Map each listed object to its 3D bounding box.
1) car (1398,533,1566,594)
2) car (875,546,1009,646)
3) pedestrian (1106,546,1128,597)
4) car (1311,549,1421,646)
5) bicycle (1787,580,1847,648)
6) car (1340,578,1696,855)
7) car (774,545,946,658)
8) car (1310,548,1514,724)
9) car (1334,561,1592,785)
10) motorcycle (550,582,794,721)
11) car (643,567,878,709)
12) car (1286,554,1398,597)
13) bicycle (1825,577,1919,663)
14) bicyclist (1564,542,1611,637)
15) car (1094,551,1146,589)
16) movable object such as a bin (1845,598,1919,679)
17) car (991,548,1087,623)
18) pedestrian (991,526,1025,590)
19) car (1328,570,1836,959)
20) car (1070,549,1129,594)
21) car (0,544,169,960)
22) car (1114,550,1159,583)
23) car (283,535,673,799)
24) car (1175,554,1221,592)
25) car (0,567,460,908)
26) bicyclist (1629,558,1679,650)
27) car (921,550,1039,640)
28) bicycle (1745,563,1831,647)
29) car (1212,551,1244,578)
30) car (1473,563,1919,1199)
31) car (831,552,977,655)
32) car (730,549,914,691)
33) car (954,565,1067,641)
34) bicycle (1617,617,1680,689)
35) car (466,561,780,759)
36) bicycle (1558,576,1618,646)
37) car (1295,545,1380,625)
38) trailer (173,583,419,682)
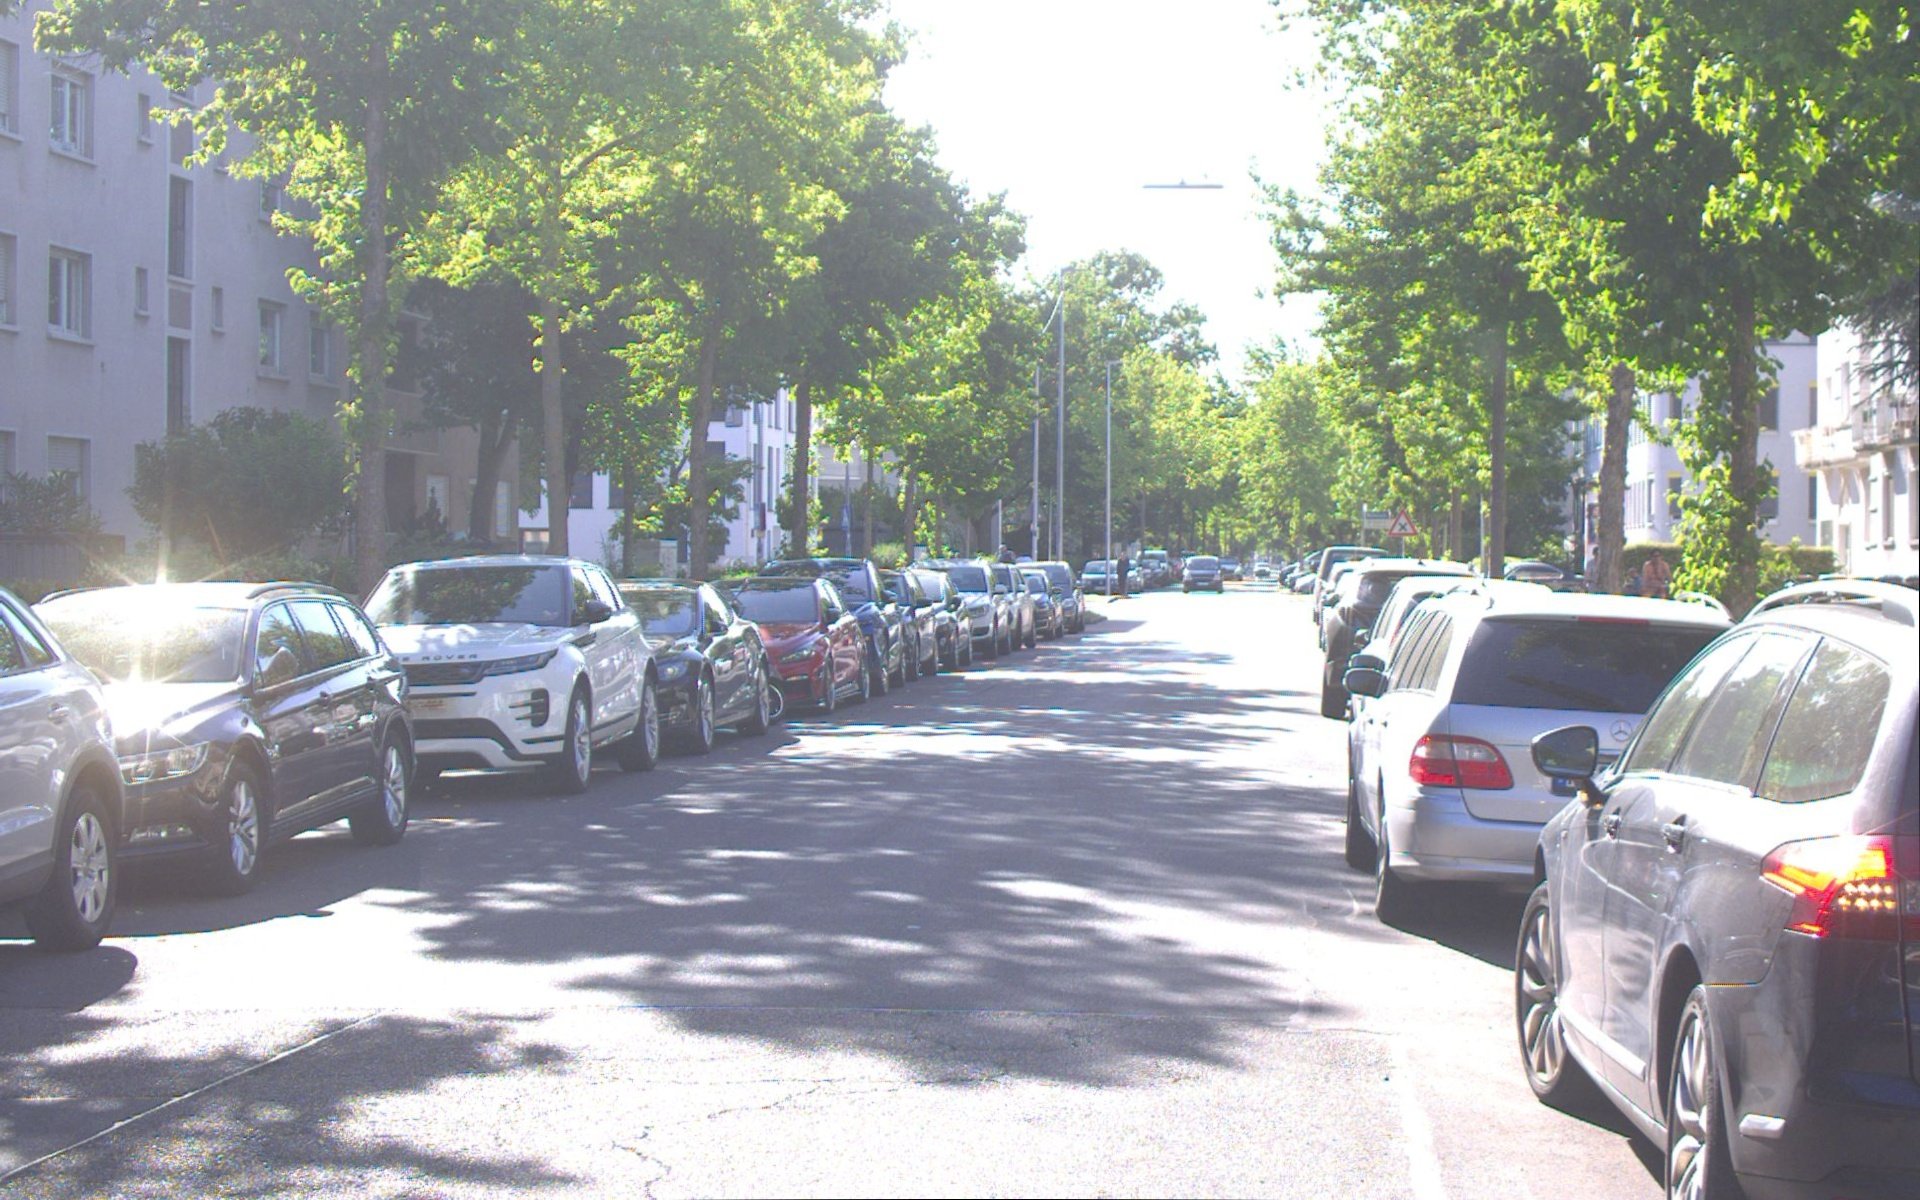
[{"bbox_3d":[16.661,-1.160,109.660,5.069,1.815,2.000,1,1,-28],"label":"car"},{"bbox_3d":[-0.256,-0.092,56.844,1.811,1.590,4.232,0,1,5],"label":"car"},{"bbox_3d":[5.884,-1.080,128.558,0.715,1.894,0.837,0,1,-4],"label":"pedestrian"},{"bbox_3d":[7.773,-0.084,66.115,1.907,1.693,4.313,3,1,5],"label":"car"},{"bbox_3d":[12.602,0.197,50.583,0.596,0.954,1.903,0,1,6],"label":"bicycle"},{"bbox_3d":[3.329,0.620,21.292,1.711,1.406,4.861,2,1,4],"label":"car"},{"bbox_3d":[-1.308,-0.003,46.512,1.830,1.448,4.121,0,1,5],"label":"car"},{"bbox_3d":[4.784,0.313,36.526,1.926,1.646,5.093,3,1,7],"label":"car"},{"bbox_3d":[3.872,0.505,26.991,1.654,1.527,3.969,3,1,4],"label":"car"},{"bbox_3d":[-2.771,0.488,33.170,2.285,1.266,0.808,-1,1,-4],"label":"motorcycle"},{"bbox_3d":[-2.045,0.359,36.403,1.780,1.374,4.261,-1,1,6],"label":"car"},{"bbox_3d":[14.178,-0.921,127.635,3.987,1.581,1.727,0,1,2],"label":"car"},{"bbox_3d":[12.202,0.255,46.053,0.804,1.111,2.000,1,1,3],"label":"bicycle"},{"bbox_3d":[10.741,-0.183,58.860,0.677,1.604,0.922,0,1,2],"label":"bicyclist"},{"bbox_3d":[6.818,-1.291,146.269,1.994,1.579,3.999,0,1,6],"label":"car"},{"bbox_3d":[11.271,0.447,40.705,1.223,0.901,1.662,1,1,26],"label":"movable object such as a bin"},{"bbox_3d":[1.795,-0.342,77.014,1.840,1.589,4.261,-1,1,5],"label":"car"},{"bbox_3d":[1.522,-1.332,108.977,0.859,2.007,0.980,0,1,14],"label":"pedestrian"},{"bbox_3d":[2.769,0.640,16.334,1.821,1.464,4.909,2,1,4],"label":"car"},{"bbox_3d":[5.321,-1.104,131.058,1.994,1.665,3.999,0,1,6],"label":"car"},{"bbox_3d":[-4.557,0.558,12.527,2.064,1.519,4.721,0,1,3],"label":"car"},{"bbox_3d":[8.656,-1.646,167.977,1.994,1.579,3.999,0,1,6],"label":"car"},{"bbox_3d":[-3.276,0.405,24.204,1.728,1.612,4.366,-3,0,5],"label":"car"},{"bbox_3d":[10.165,-1.156,147.154,1.783,1.603,4.000,0,1,1],"label":"car"},{"bbox_3d":[-3.998,0.600,17.683,1.728,1.442,4.820,-2,1,5],"label":"car"},{"bbox_3d":[11.792,0.057,58.445,0.676,1.548,1.022,0,1,2],"label":"bicyclist"},{"bbox_3d":[0.401,-0.118,62.300,1.710,1.539,3.929,-1,1,6],"label":"car"},{"bbox_3d":[12.749,0.066,52.980,0.838,1.253,2.231,1,1,2],"label":"bicycle"},{"bbox_3d":[16.077,-2.137,206.192,1.895,1.555,3.999,0,1,5],"label":"car"},{"bbox_3d":[2.426,0.712,8.506,1.896,1.519,4.966,1,0,4],"label":"car"},{"bbox_3d":[-0.792,0.025,51.230,1.762,1.439,3.908,-1,1,5],"label":"car"},{"bbox_3d":[-1.611,0.199,41.569,1.789,1.561,4.465,-2,1,3],"label":"car"},{"bbox_3d":[1.070,0.038,70.991,1.994,1.448,4.261,-2,1,5],"label":"car"},{"bbox_3d":[11.717,0.893,58.566,0.684,1.149,2.403,0,1,3],"label":"bicycle"},{"bbox_3d":[-2.791,0.450,29.524,1.728,1.472,4.618,-3,0,6],"label":"car"},{"bbox_3d":[10.736,0.175,58.837,0.684,1.149,2.403,0,1,3],"label":"bicycle"},{"bbox_3d":[9.462,-0.405,86.444,1.971,1.942,4.984,1,1,5],"label":"car"},{"bbox_3d":[-7.503,0.344,39.133,1.789,1.030,3.280,1,1,8],"label":"trailer"}]
